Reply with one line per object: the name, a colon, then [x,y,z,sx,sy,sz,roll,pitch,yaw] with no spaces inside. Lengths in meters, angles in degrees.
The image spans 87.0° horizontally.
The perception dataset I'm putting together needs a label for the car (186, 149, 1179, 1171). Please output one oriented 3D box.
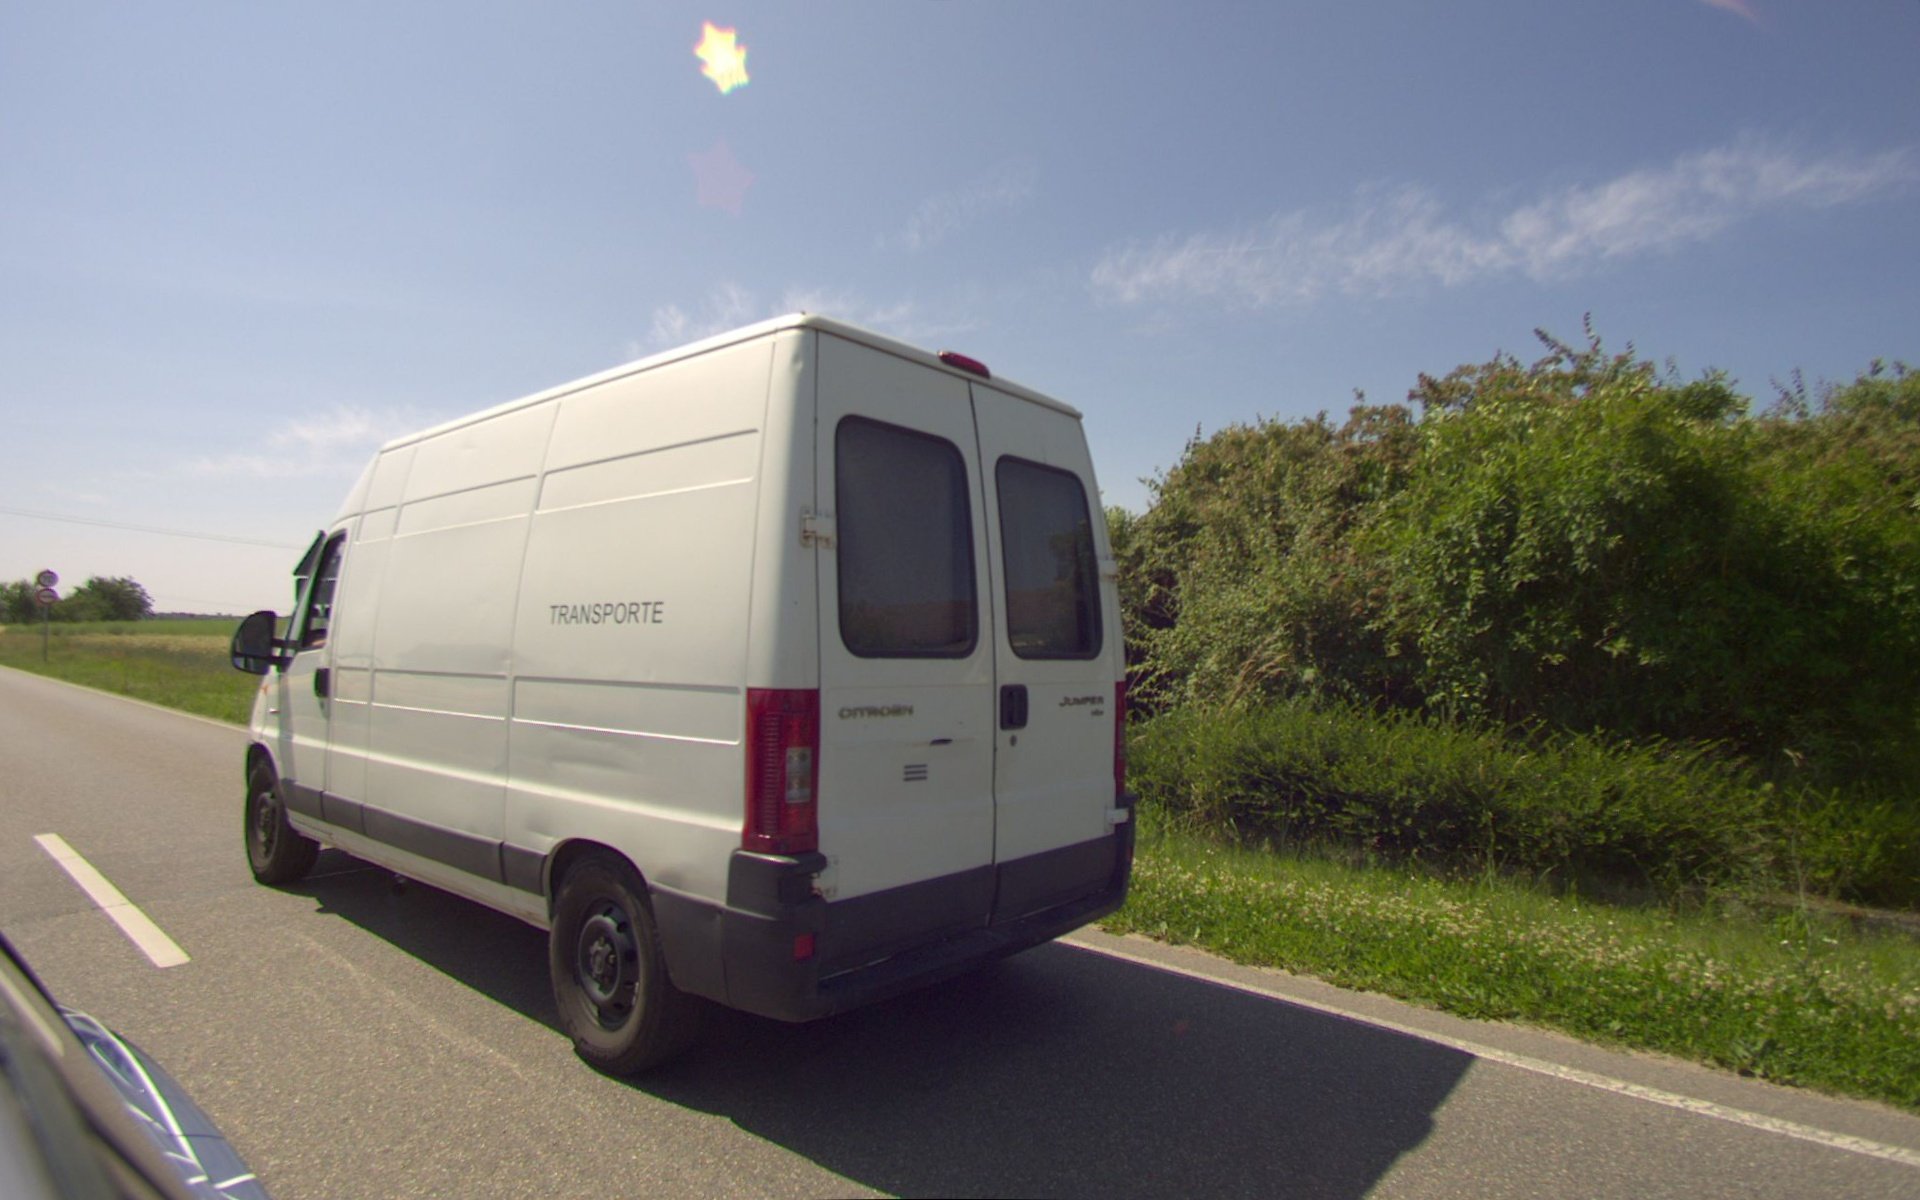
car: [-1.984,0.229,5.262,5.870,2.562,2.055,-2,-4,41]
